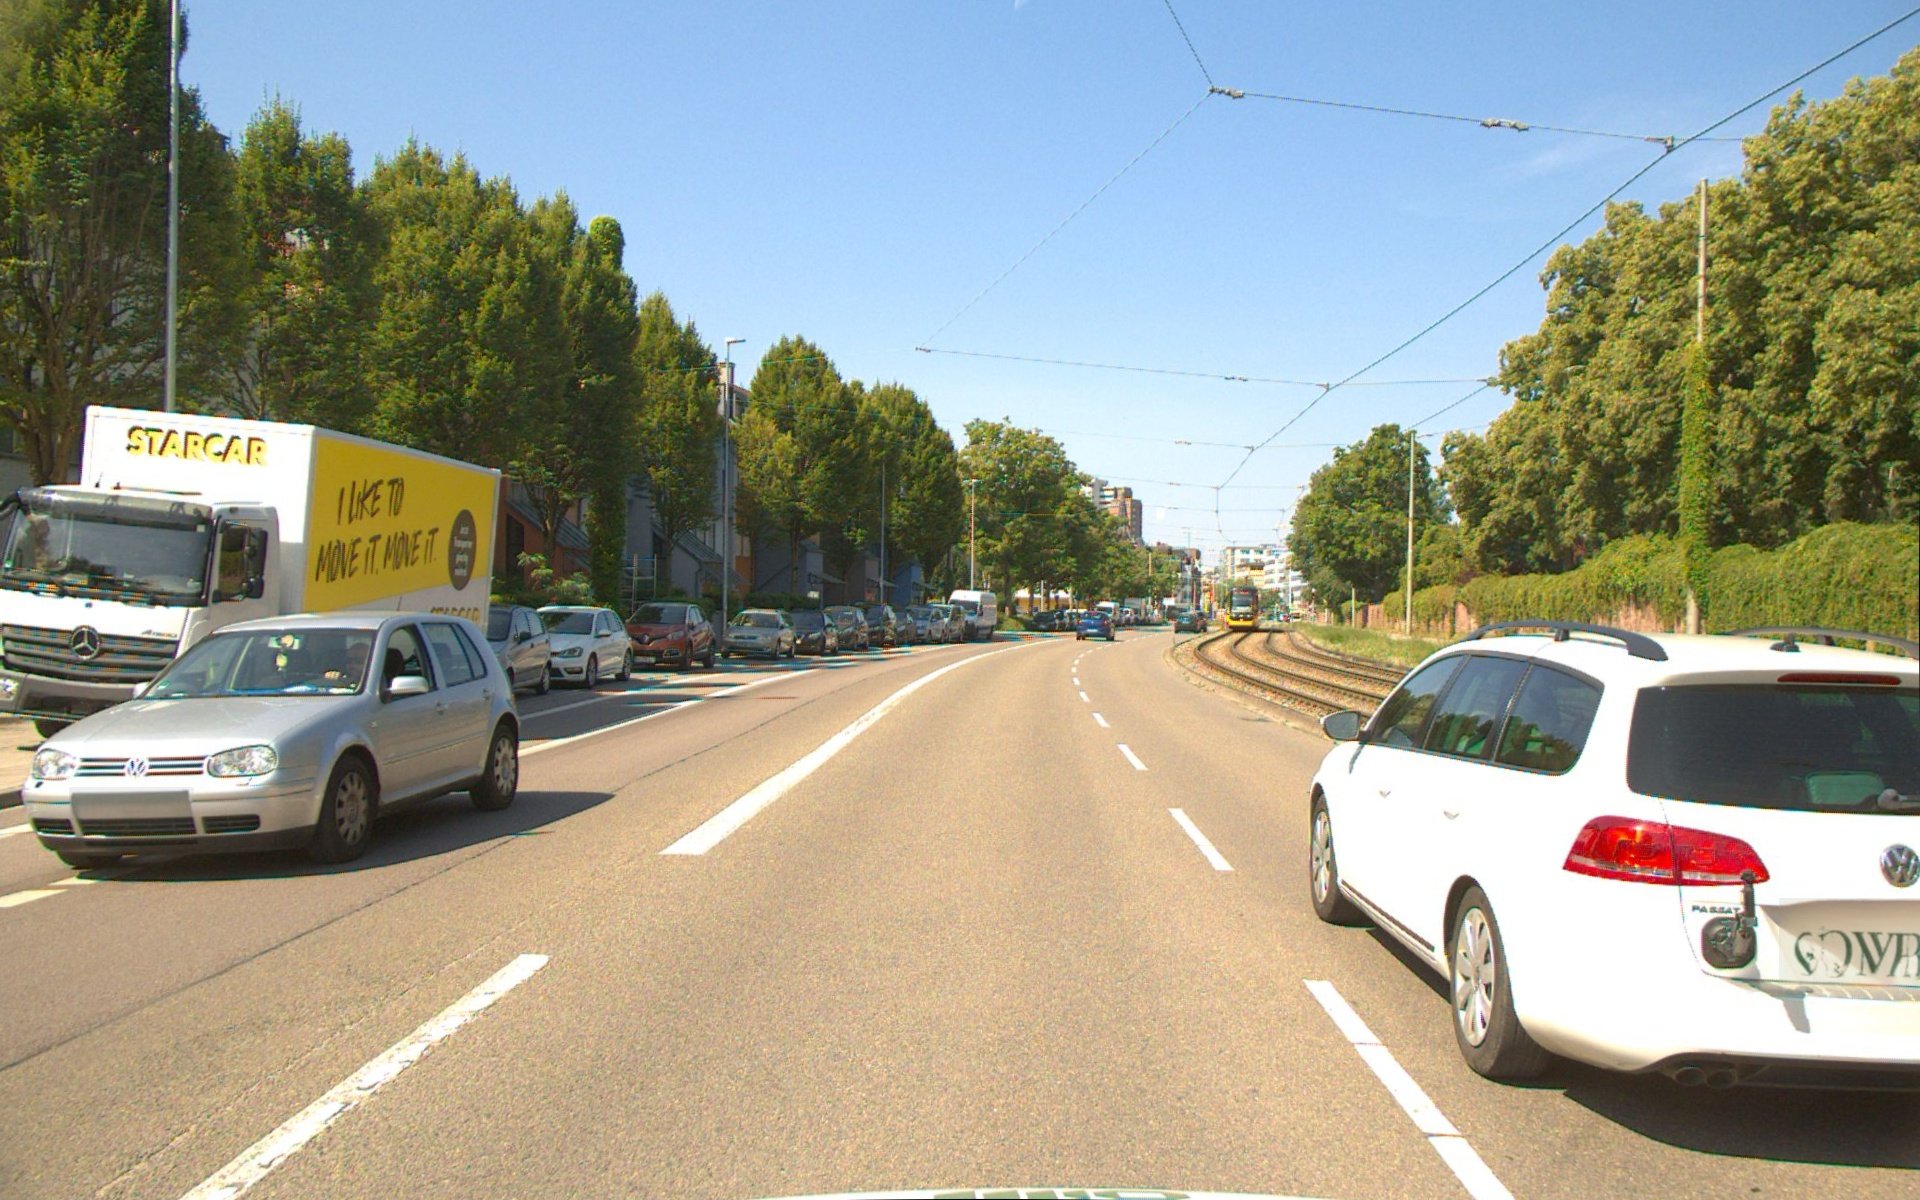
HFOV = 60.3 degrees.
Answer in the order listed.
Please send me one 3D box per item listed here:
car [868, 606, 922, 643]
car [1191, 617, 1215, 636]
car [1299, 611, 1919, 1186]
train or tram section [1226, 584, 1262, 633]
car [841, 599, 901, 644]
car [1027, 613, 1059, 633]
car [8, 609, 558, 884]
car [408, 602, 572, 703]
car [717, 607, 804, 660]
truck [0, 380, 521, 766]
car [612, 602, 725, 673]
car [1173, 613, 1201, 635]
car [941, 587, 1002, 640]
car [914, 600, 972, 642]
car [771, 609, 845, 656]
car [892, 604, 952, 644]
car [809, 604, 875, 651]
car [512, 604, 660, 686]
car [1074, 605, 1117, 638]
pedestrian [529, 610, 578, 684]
[{"bbox_3d":[-2.910,1.094,74.450,1.654,1.500,4.051,3,0,8],"label":"car"},{"bbox_3d":[19.486,2.081,132.648,1.762,1.486,4.003,0,0,10],"label":"car"},{"bbox_3d":[2.595,0.800,6.549,1.656,1.476,4.459,1,0,1],"label":"car"},{"bbox_3d":[23.826,0.729,138.165,2.457,3.813,13.321,0,0,12],"label":"train or tram section"},{"bbox_3d":[-3.675,0.887,69.018,1.732,1.753,4.873,3,0,6],"label":"car"},{"bbox_3d":[6.210,1.715,123.176,1.663,1.442,4.003,0,-1,14],"label":"car"},{"bbox_3d":[-4.163,0.802,11.016,1.624,1.445,4.312,-1,-1,4],"label":"car"},{"bbox_3d":[-7.730,0.819,27.507,1.576,1.509,3.636,2,0,1],"label":"car"},{"bbox_3d":[-6.100,1.024,51.059,1.743,1.509,4.859,2,-1,3],"label":"car"},{"bbox_3d":[-8.033,-0.257,20.093,2.611,3.592,8.593,2,0,3],"label":"truck"},{"bbox_3d":[-6.998,0.867,40.103,1.694,1.579,4.320,2,0,3],"label":"car"},{"bbox_3d":[16.368,1.711,119.156,1.762,1.534,4.003,2,0,10],"label":"car"},{"bbox_3d":[0.718,0.760,93.343,1.952,2.761,7.162,3,0,11],"label":"car"},{"bbox_3d":[-0.822,1.083,85.076,1.879,1.982,5.358,3,0,10],"label":"car"},{"bbox_3d":[-5.238,1.096,57.585,1.686,1.500,4.717,2,0,5],"label":"car"},{"bbox_3d":[-1.774,1.150,79.497,1.762,1.754,4.913,3,0,11],"label":"car"},{"bbox_3d":[-4.491,1.034,63.528,1.680,1.653,4.315,2,0,7],"label":"car"},{"bbox_3d":[-7.299,0.840,32.711,1.721,1.454,4.283,2,0,3],"label":"car"},{"bbox_3d":[6.834,1.066,83.131,1.762,1.533,4.004,2,1,10],"label":"car"},{"bbox_3d":[-9.538,1.087,38.840,0.856,1.720,1.055,0,0,2],"label":"pedestrian"}]
